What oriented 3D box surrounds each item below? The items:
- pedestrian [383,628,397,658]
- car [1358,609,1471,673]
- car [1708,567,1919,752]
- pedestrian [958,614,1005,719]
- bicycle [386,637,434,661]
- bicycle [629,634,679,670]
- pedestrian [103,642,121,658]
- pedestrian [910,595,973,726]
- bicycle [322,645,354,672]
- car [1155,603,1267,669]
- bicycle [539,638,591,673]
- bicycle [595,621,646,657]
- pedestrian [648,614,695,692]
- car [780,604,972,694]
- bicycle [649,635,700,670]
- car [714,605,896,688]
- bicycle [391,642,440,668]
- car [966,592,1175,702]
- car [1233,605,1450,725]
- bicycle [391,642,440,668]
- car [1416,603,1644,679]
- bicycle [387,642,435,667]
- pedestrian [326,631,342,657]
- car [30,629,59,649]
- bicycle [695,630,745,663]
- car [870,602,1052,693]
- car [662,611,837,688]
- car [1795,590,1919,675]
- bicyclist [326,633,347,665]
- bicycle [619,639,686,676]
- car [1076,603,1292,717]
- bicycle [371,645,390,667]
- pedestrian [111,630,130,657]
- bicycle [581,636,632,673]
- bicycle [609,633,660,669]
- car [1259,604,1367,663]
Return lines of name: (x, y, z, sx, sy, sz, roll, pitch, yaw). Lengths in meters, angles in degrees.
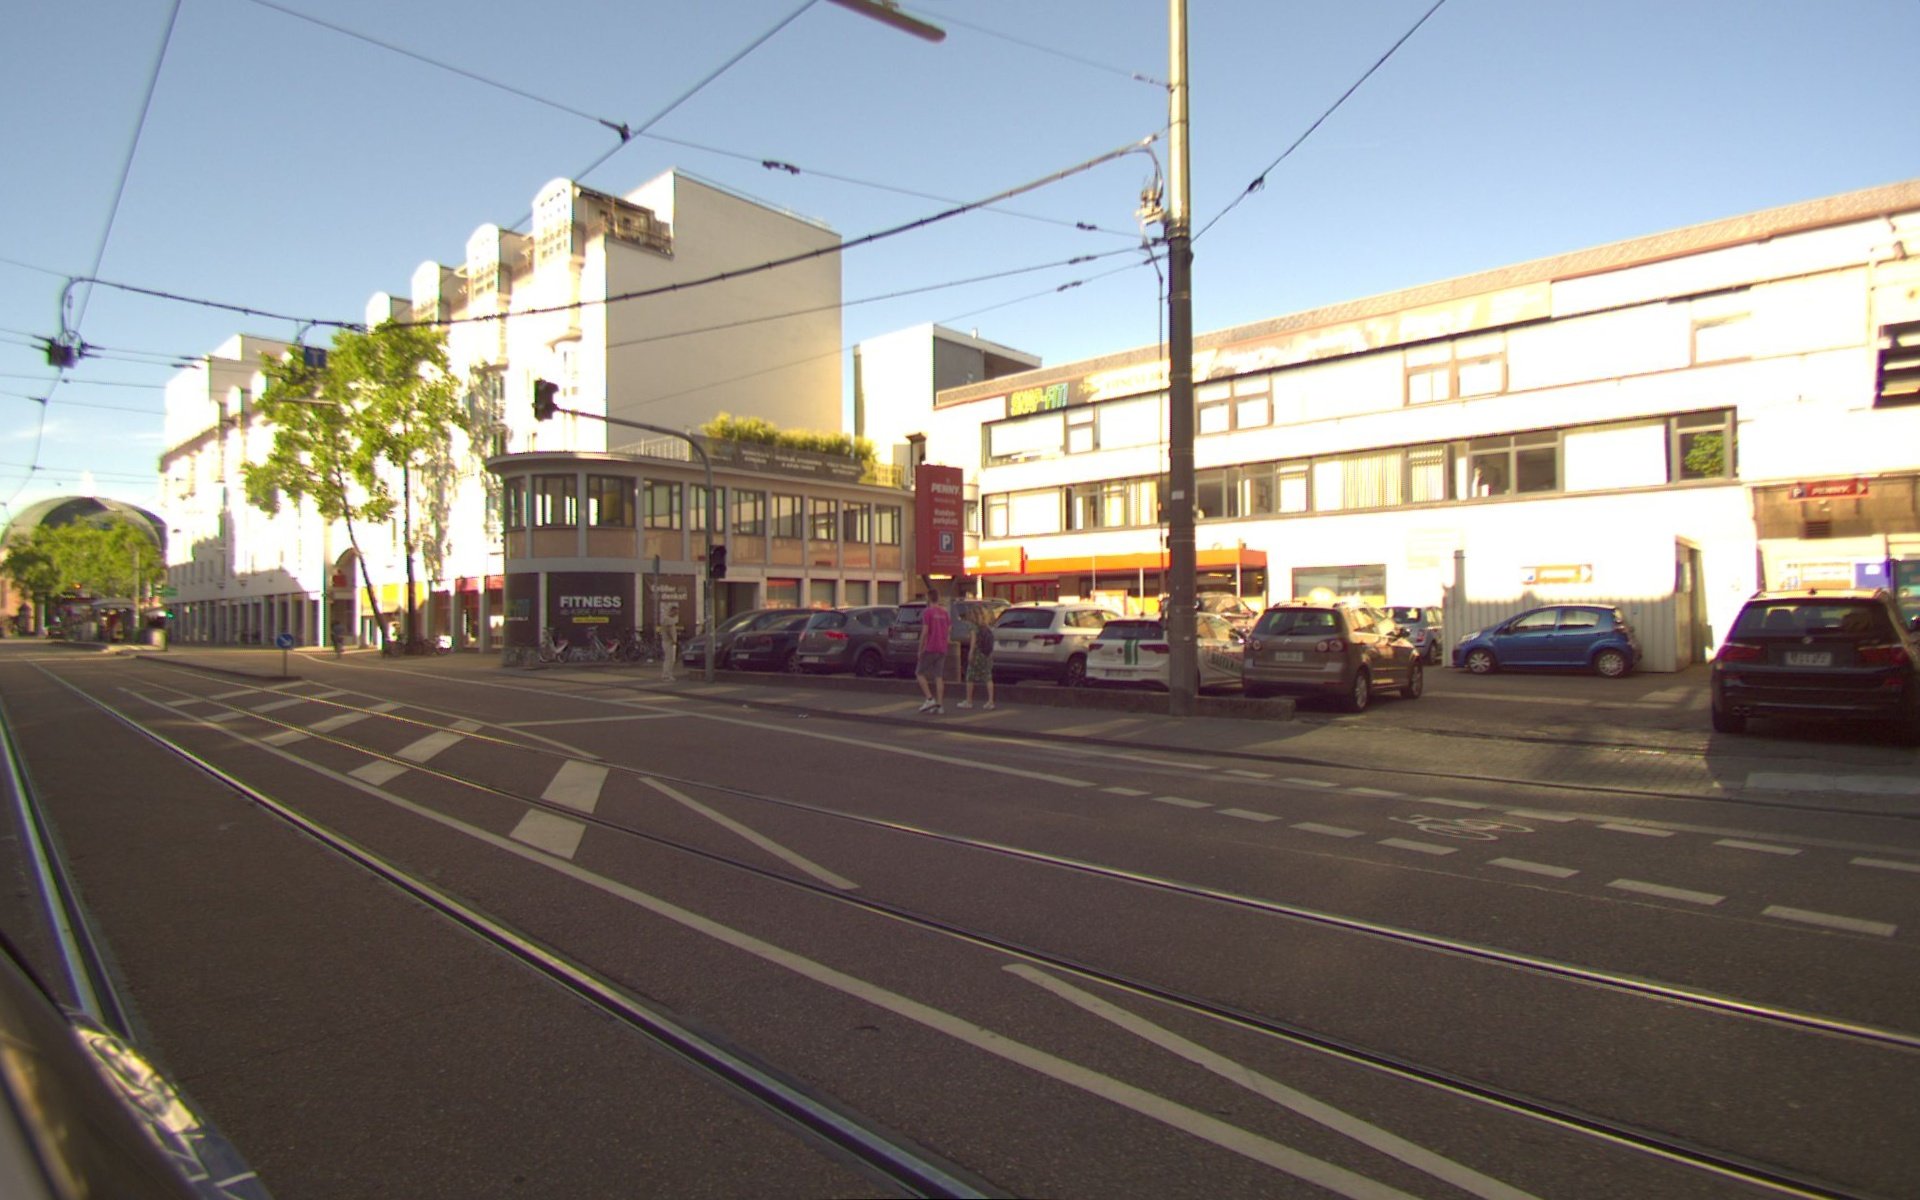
pedestrian: (-31.393, 2.367, 55.766, 0.523, 1.657, 0.556, -2, -2, 43)
car: (11.540, 1.004, 25.586, 1.694, 1.490, 3.542, -2, -2, 40)
car: (10.309, 0.627, 12.087, 1.785, 1.826, 4.188, -2, -2, 42)
pedestrian: (0.341, 1.044, 16.185, 0.499, 1.629, 0.566, -2, -2, 41)
bicycle: (-25.130, 2.230, 46.276, 1.851, 1.085, 0.512, 1, -2, -43)
bicycle: (-9.595, 1.607, 31.678, 1.875, 1.085, 0.459, -1, -1, 35)
pedestrian: (-55.352, 3.274, 66.059, 0.747, 0.996, 0.784, -2, -2, 43)
pedestrian: (-0.284, 0.912, 15.638, 0.709, 1.961, 0.631, -2, -2, 41)
bicycle: (-27.563, 2.579, 44.833, 2.003, 1.131, 0.558, -1, 3, 41)
car: (7.214, 1.002, 28.907, 1.694, 1.762, 3.542, -2, -2, 40)
bicycle: (-11.981, 1.679, 30.706, 1.875, 1.044, 0.519, -2, -2, 35)
bicycle: (-10.347, 1.187, 30.837, 1.875, 1.044, 0.459, -2, -2, 35)
pedestrian: (-6.711, 1.214, 23.540, 0.778, 1.777, 0.707, -2, -2, 35)
car: (-1.791, 1.032, 22.609, 1.785, 1.826, 4.187, -2, -2, 42)
bicycle: (-9.140, 1.661, 32.367, 1.874, 1.085, 0.459, -2, -2, 34)
car: (-3.672, 1.065, 24.491, 1.785, 1.826, 4.188, -2, -2, 42)
bicycle: (-24.126, 2.425, 44.880, 1.849, 1.085, 0.465, 1, -2, -39)
car: (2.179, 0.846, 19.057, 1.785, 1.825, 4.188, 1, -1, 42)
car: (6.104, 0.903, 15.903, 1.785, 1.560, 4.188, -1, 0, 42)
bicycle: (-23.892, 2.409, 44.410, 1.849, 1.085, 0.465, 1, -2, -39)
car: (12.013, 0.828, 21.437, 3.995, 1.465, 1.762, -1, -1, 38)
bicycle: (-24.780, 2.466, 45.672, 1.849, 1.085, 0.465, 1, -2, -39)
pedestrian: (-40.673, 2.842, 65.775, 0.731, 1.657, 0.737, -2, -2, 43)
car: (-101.992, 4.343, 112.759, 3.998, 2.029, 1.860, -3, -1, 41)
bicycle: (-7.987, 1.537, 33.679, 1.874, 1.085, 0.459, -2, -2, 34)
car: (0.095, 0.984, 20.913, 1.785, 1.685, 3.649, -2, -4, 42)
car: (-5.377, 1.213, 26.198, 1.785, 1.777, 4.188, -2, -1, 42)
car: (17.412, 0.608, 19.739, 1.694, 1.490, 3.542, -2, -2, 40)
bicyclist: (-27.612, 2.166, 44.840, 0.718, 1.372, 0.557, 0, -2, 39)
bicycle: (-9.090, 1.687, 29.943, 1.847, 1.044, 0.427, 0, -2, -23)
car: (3.984, 0.945, 17.525, 1.785, 1.621, 4.188, -2, 0, 42)
bicycle: (-25.396, 2.449, 44.323, 0.463, 0.939, 1.757, 1, -2, -38)
pedestrian: (-52.417, 2.696, 63.195, 0.747, 1.657, 0.784, -2, -2, 43)
bicycle: (-10.636, 1.625, 30.406, 1.875, 1.088, 0.459, -2, -2, 35)
bicycle: (-10.061, 1.566, 31.239, 1.875, 1.095, 0.459, -1, -2, 35)
car: (9.794, 0.918, 27.938, 1.626, 1.493, 3.600, 1, -1, 40)
